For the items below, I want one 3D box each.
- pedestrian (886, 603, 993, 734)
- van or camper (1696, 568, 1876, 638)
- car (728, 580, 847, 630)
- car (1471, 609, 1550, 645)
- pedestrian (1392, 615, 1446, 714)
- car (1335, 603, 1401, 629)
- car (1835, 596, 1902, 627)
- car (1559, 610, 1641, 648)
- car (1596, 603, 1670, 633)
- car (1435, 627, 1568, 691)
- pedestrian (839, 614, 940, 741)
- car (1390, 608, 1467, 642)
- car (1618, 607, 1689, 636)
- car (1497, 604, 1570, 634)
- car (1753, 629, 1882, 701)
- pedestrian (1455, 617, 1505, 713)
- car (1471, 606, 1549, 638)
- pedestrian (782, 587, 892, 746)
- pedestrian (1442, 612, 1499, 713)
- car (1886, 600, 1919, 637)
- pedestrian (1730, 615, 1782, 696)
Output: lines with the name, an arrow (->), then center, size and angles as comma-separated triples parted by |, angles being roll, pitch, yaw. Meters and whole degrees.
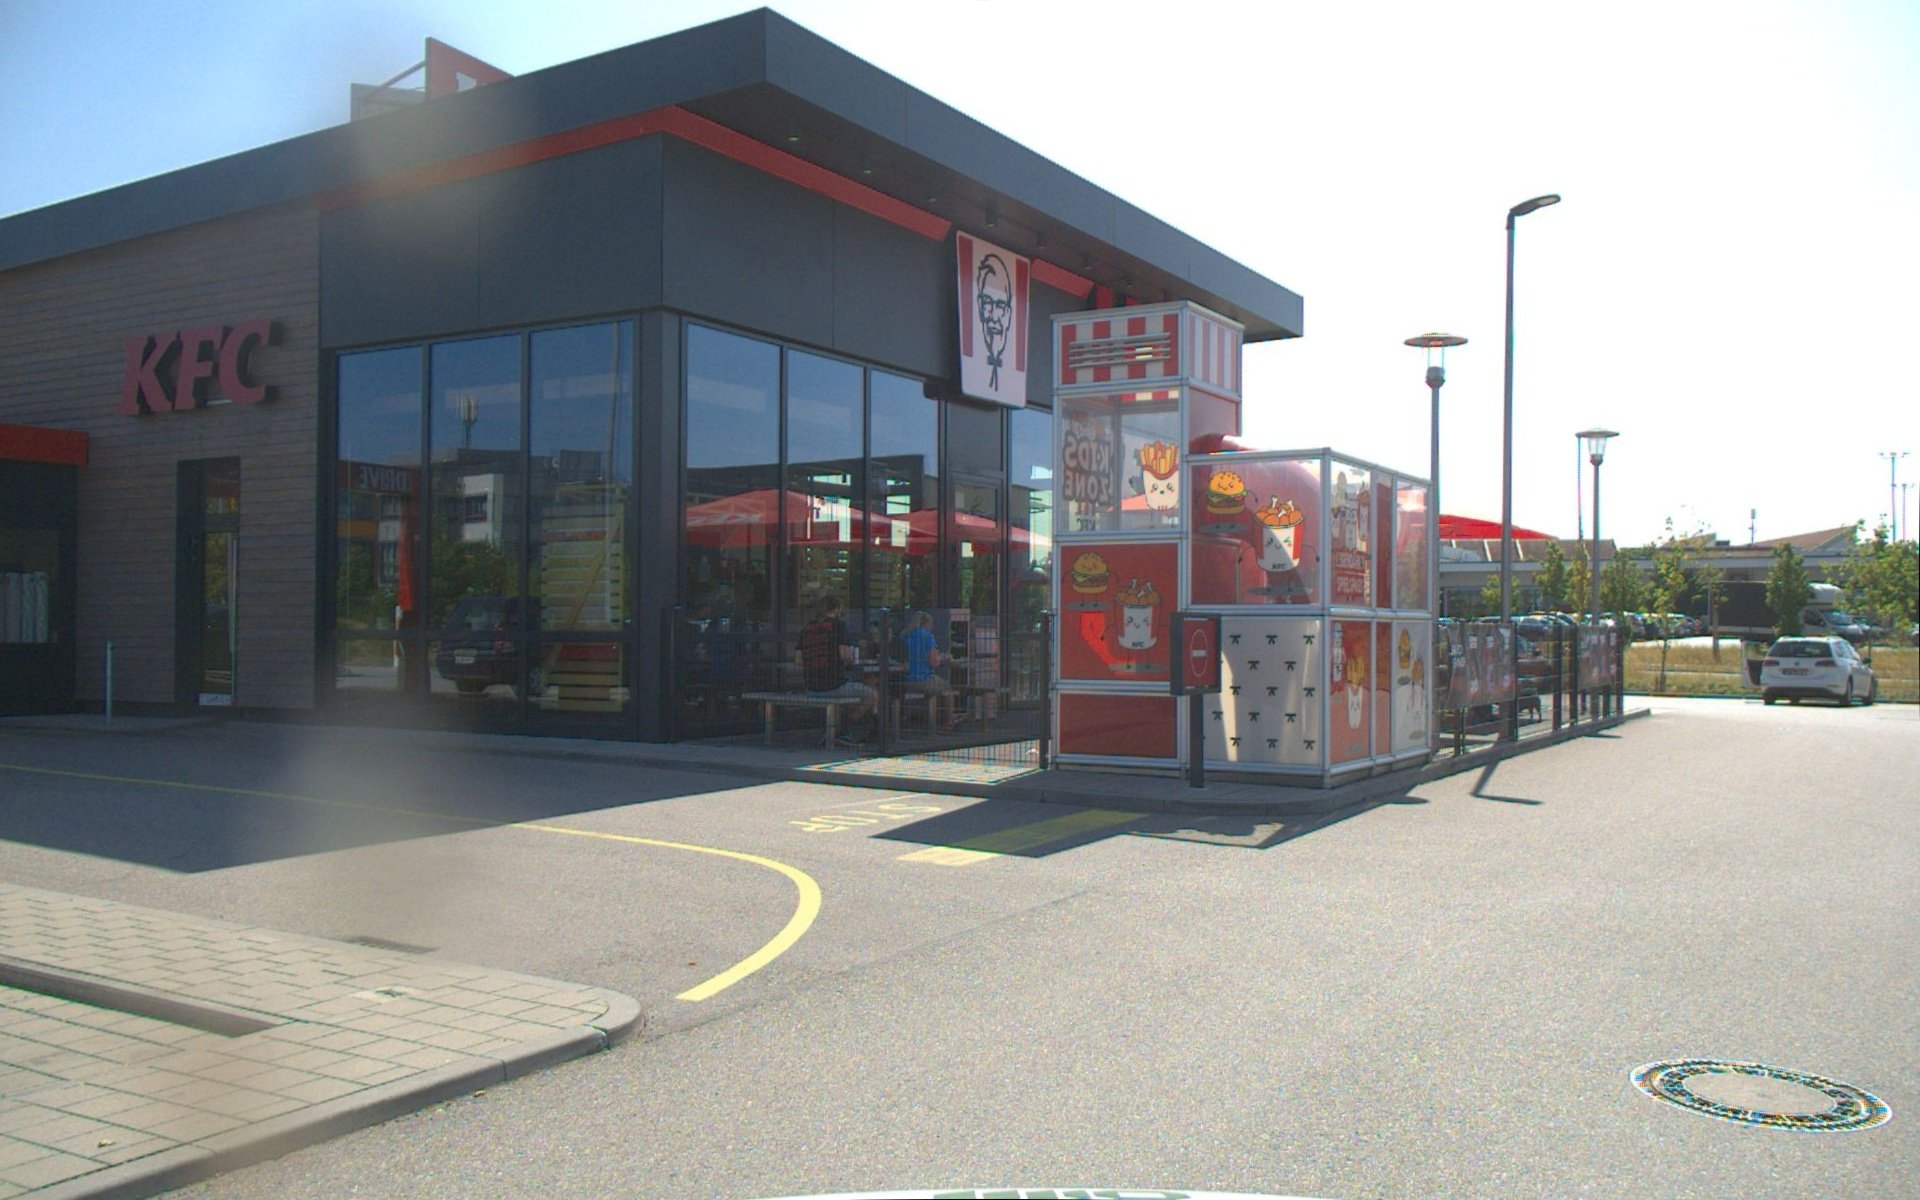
pedestrian -> -0.210, 0.712, 17.660 | 0.739, 1.335, 0.943 | 1, -1, 32
van or camper -> 39.504, 0.141, 79.454 | 2.381, 3.156, 7.990 | 1, 0, -25
car -> -6.434, 0.207, 62.002 | 1.862, 1.732, 4.304 | 0, -2, 43
car -> 29.785, 1.455, 89.437 | 4.356, 1.888, 1.931 | 1, 0, -36
pedestrian -> 6.173, 0.862, 22.280 | 0.669, 1.296, 0.551 | 1, -1, 14
car -> 30.502, 1.194, 123.715 | 4.474, 1.888, 1.951 | 1, 0, 31
car -> 62.518, 0.777, 113.813 | 3.917, 2.049, 1.994 | 1, 0, 34
car -> 33.104, 1.496, 85.482 | 4.356, 1.888, 1.931 | 1, 0, -36
car -> 44.134, 1.194, 108.473 | 4.309, 1.888, 1.951 | 1, 0, 31
car -> 13.605, 1.478, 41.420 | 1.798, 1.495, 4.332 | 0, -2, 38
pedestrian -> -0.699, 0.756, 16.501 | 0.738, 1.221, 0.693 | 1, -1, 32
car -> 26.436, 1.414, 93.280 | 4.239, 1.888, 1.974 | 1, 0, -36
car -> 47.538, 1.445, 113.369 | 4.309, 1.888, 1.951 | 1, 0, 31
car -> 38.249, 1.272, 110.317 | 4.309, 1.888, 1.951 | 1, 0, 31
car -> 19.142, 1.443, 36.831 | 1.798, 1.495, 4.461 | 0, -2, 38
pedestrian -> 7.140, 0.881, 22.726 | 0.598, 1.296, 0.625 | 1, -1, 14
car -> 34.336, 1.352, 103.218 | 4.309, 1.888, 1.951 | 1, 0, 31
pedestrian -> -1.170, 0.621, 15.819 | 0.781, 1.468, 0.692 | 1, -1, 29
pedestrian -> 6.774, 0.818, 21.976 | 0.669, 1.296, 0.842 | 1, 0, 14
car -> 50.680, 1.004, 86.187 | 4.175, 1.888, 1.866 | 1, 0, 31
pedestrian -> 18.322, 1.276, 38.078 | 0.974, 1.841, 0.723 | 0, -2, 34
